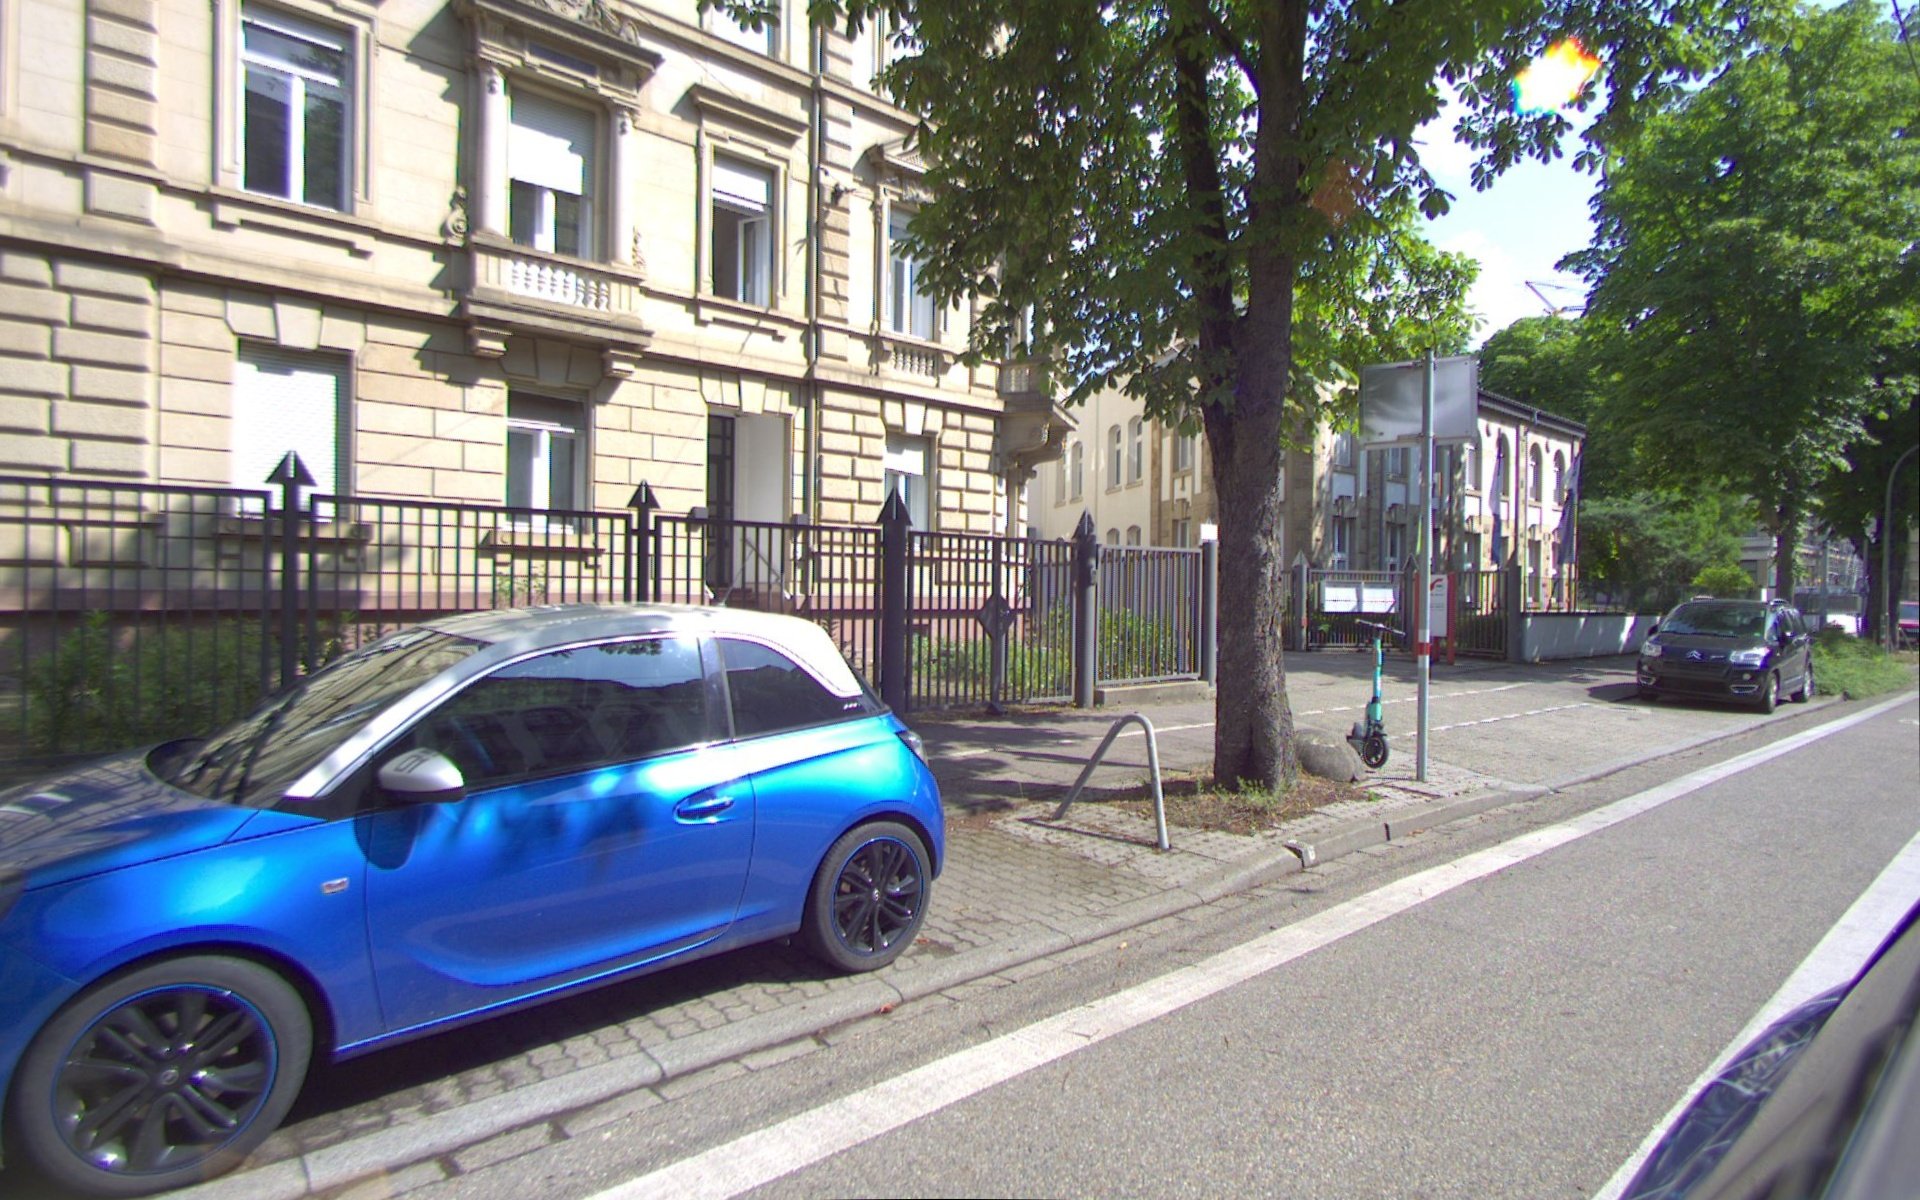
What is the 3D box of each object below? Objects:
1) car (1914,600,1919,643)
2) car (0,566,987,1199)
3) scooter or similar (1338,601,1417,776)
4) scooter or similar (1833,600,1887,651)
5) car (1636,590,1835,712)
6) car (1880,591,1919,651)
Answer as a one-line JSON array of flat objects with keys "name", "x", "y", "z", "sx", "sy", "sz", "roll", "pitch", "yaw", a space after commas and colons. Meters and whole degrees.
[{"name": "car", "x": 34.869, "y": 0.778, "z": 35.627, "sx": 3.536, "sy": 1.445, "sz": 1.603, "roll": -1, "pitch": 5, "yaw": -44}, {"name": "car", "x": -1.763, "y": 0.677, "z": 3.845, "sx": 3.565, "sy": 1.514, "sz": 1.642, "roll": 0, "pitch": 2, "yaw": -42}, {"name": "scooter or similar", "x": 3.461, "y": 0.683, "z": 8.459, "sx": 0.436, "sy": 1.315, "sz": 1.175, "roll": 4, "pitch": 2, "yaw": 18}, {"name": "scooter or similar", "x": 22.830, "y": 0.642, "z": 25.679, "sx": 1.233, "sy": 1.252, "sz": 0.343, "roll": 2, "pitch": 3, "yaw": -16}, {"name": "car", "x": 12.297, "y": 0.678, "z": 15.959, "sx": 4.130, "sy": 1.610, "sz": 1.700, "roll": 0, "pitch": 3, "yaw": -42}, {"name": "car", "x": 29.374, "y": 0.635, "z": 30.605, "sx": 4.209, "sy": 1.697, "sz": 1.879, "roll": 0, "pitch": 3, "yaw": -43}]
